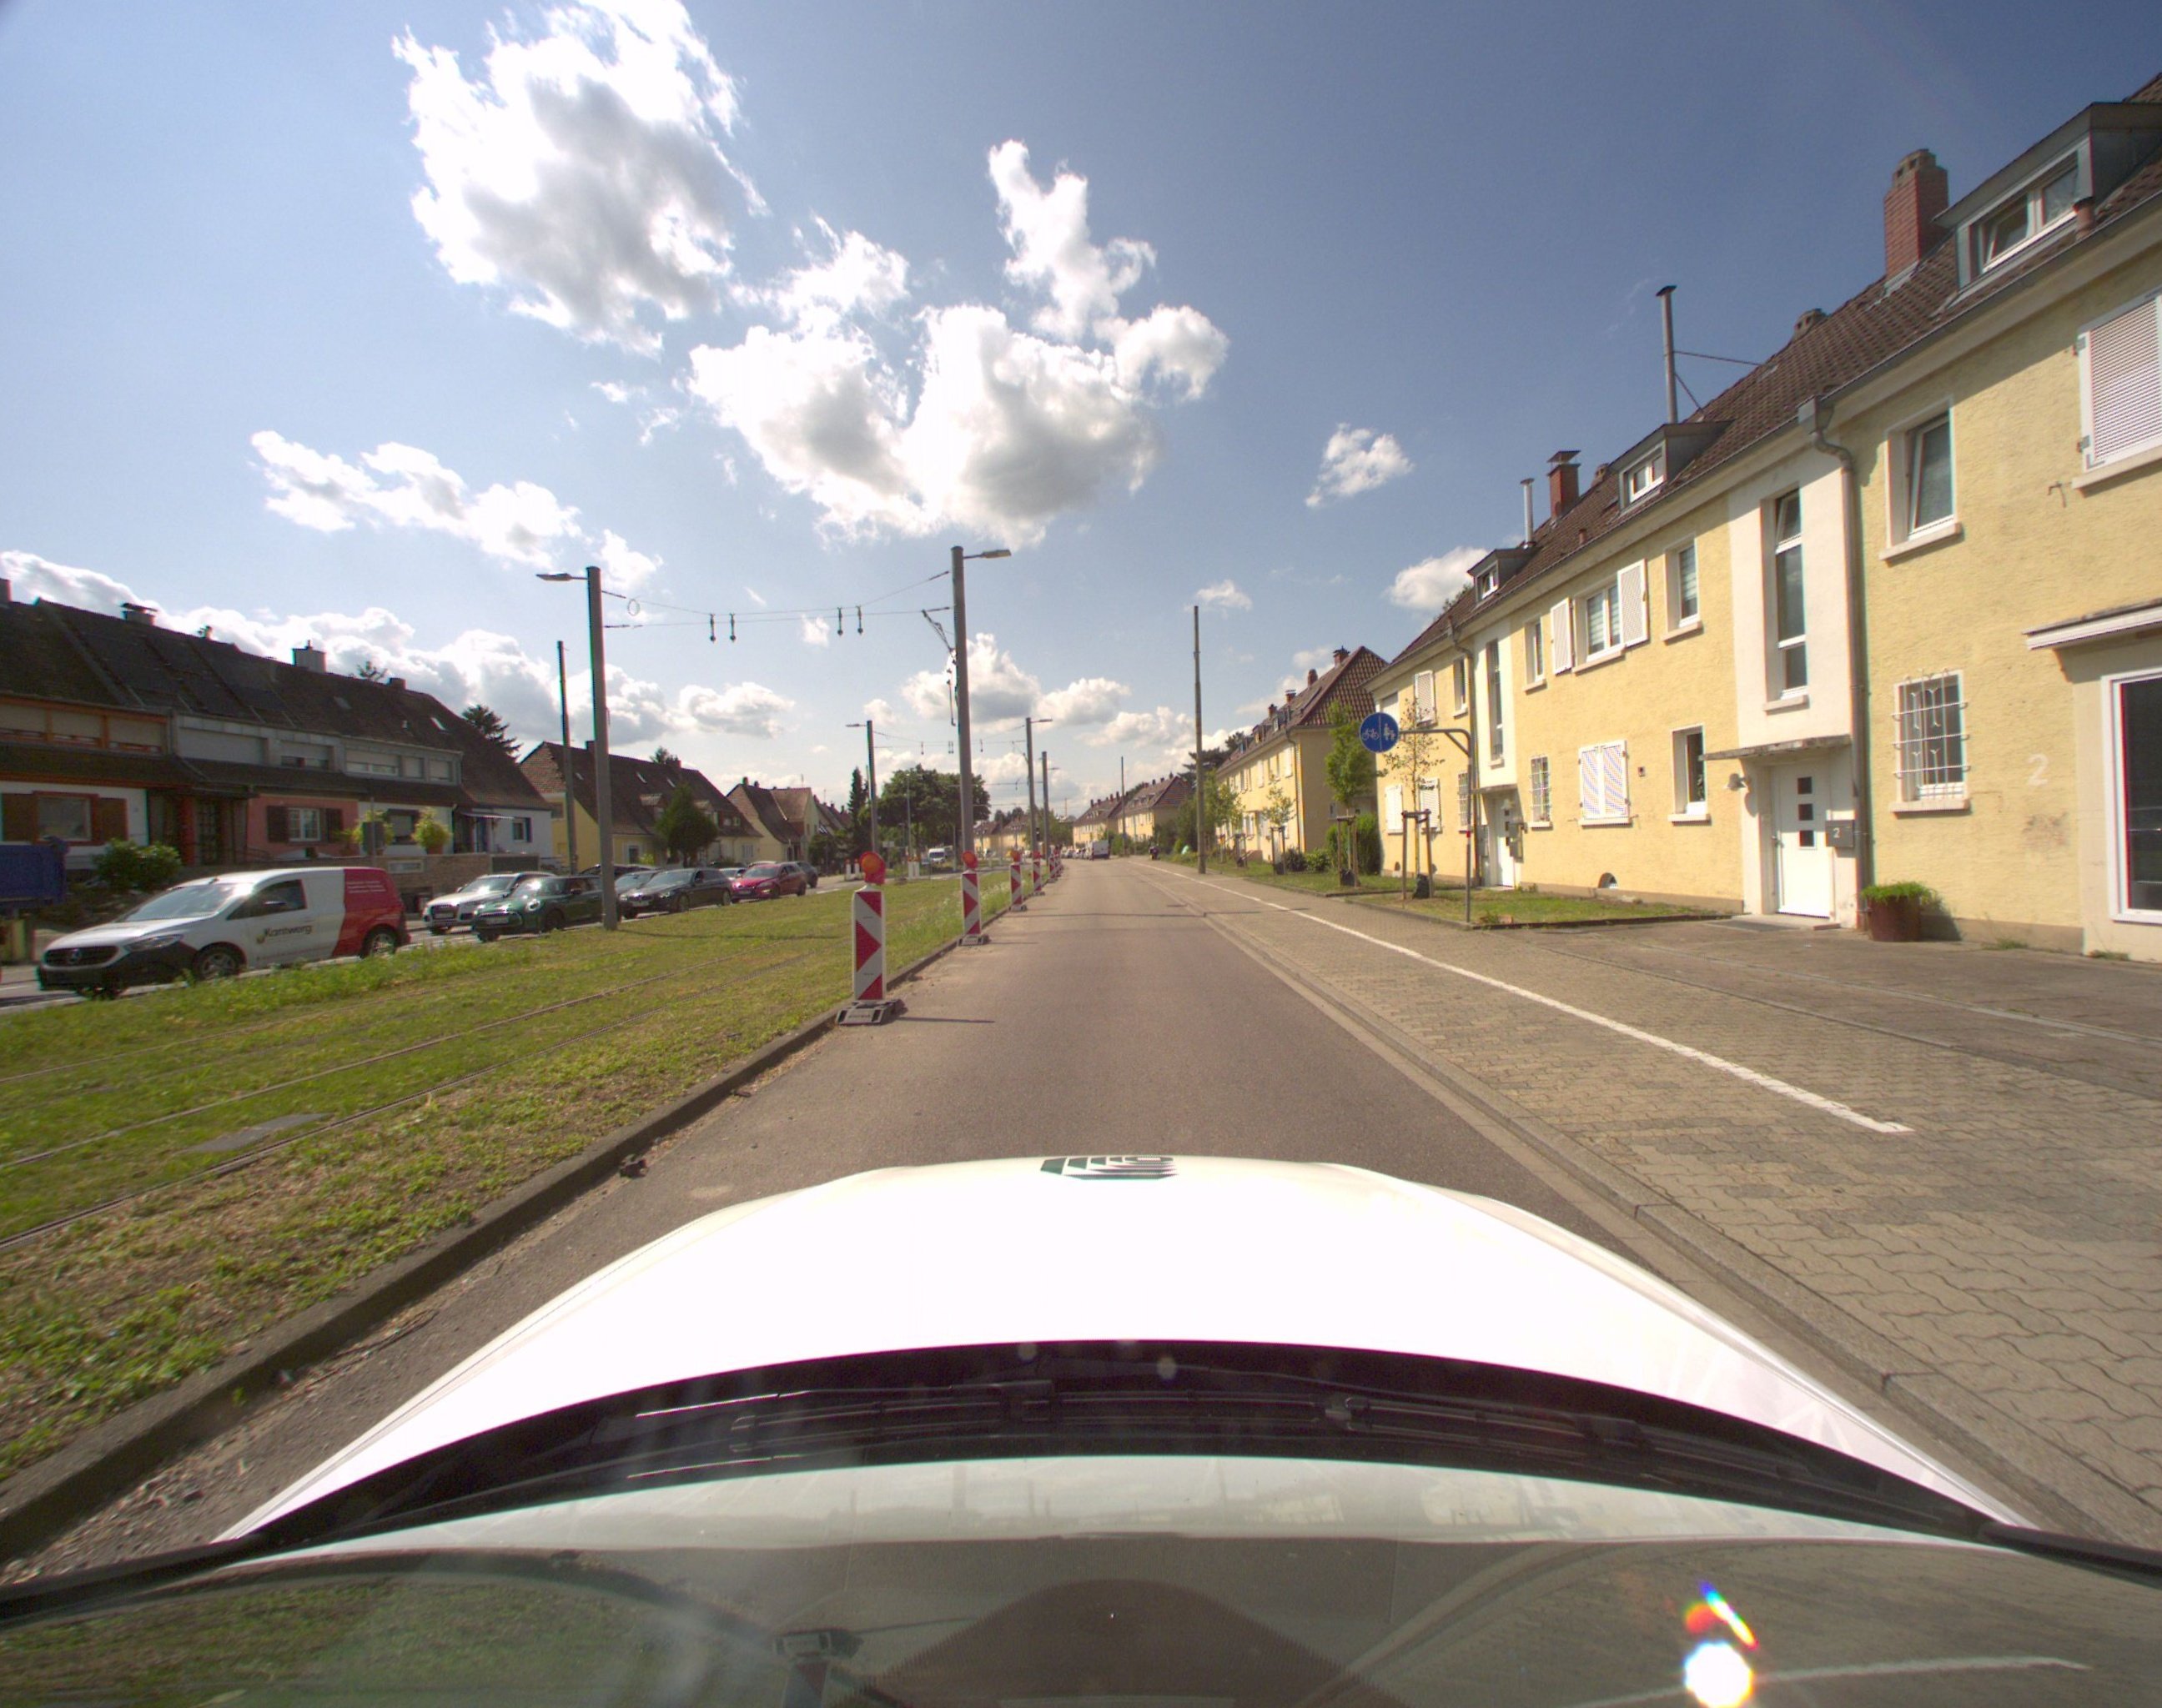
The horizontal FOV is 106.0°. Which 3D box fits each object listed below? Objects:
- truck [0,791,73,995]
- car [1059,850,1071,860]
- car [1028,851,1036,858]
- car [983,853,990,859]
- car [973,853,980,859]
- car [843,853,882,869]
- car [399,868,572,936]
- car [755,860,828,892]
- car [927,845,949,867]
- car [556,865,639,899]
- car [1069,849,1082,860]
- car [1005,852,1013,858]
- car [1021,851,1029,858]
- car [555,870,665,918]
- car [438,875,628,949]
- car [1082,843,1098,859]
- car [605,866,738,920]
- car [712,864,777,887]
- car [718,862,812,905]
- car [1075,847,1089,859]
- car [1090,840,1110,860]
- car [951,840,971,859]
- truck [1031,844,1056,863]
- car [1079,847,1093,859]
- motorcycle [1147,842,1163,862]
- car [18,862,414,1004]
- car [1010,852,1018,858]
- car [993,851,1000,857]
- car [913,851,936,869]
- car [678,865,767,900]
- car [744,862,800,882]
[{"bbox_3d":[-18.282,0.684,9.778,2.760,3.188,7.581,-3,0,0],"label":"truck"},{"bbox_3d":[-2.663,0.105,134.257,1.565,1.551,3.471,-3,0,-6],"label":"car"},{"bbox_3d":[-10.250,0.040,170.092,1.260,1.426,2.651,-3,0,-16],"label":"car"},{"bbox_3d":[-24.977,0.564,214.779,1.170,1.426,2.647,-3,0,-20],"label":"car"},{"bbox_3d":[-28.834,0.571,225.248,1.262,1.426,2.647,-3,0,-21],"label":"car"},{"bbox_3d":[-26.191,0.835,97.629,4.098,1.776,2.099,-3,0,-3],"label":"car"},{"bbox_3d":[-17.785,1.363,24.641,1.837,1.668,4.505,-3,0,0],"label":"car"},{"bbox_3d":[-16.129,1.207,45.656,1.834,1.534,4.747,-3,0,6],"label":"car"},{"bbox_3d":[-16.901,0.219,96.309,2.407,2.338,4.863,-3,0,-9],"label":"car"},{"bbox_3d":[-25.754,1.486,43.459,3.375,1.594,1.604,2,0,-2],"label":"car"},{"bbox_3d":[-0.875,0.054,127.777,1.565,1.551,3.471,-3,0,-6],"label":"car"},{"bbox_3d":[-17.346,0.221,195.217,1.261,1.426,2.648,-3,0,-19],"label":"car"},{"bbox_3d":[-12.275,0.148,178.972,1.260,1.426,2.651,-3,0,-16],"label":"car"},{"bbox_3d":[-17.456,1.456,30.404,1.837,1.493,3.656,-3,0,1],"label":"car"},{"bbox_3d":[-13.276,1.343,20.089,1.909,1.418,3.999,-3,0,0],"label":"car"},{"bbox_3d":[1.207,-0.367,105.329,1.565,1.897,3.781,-3,0,-6],"label":"car"},{"bbox_3d":[-13.262,1.191,26.772,1.837,1.413,4.916,-3,0,0],"label":"car"},{"bbox_3d":[-25.928,1.640,62.856,4.094,1.466,1.991,-3,0,0],"label":"car"},{"bbox_3d":[-12.953,1.160,33.780,1.837,1.493,4.857,-3,0,1],"label":"car"},{"bbox_3d":[0.118,-0.187,116.146,1.565,1.551,3.781,-3,0,-6],"label":"car"},{"bbox_3d":[2.196,-0.467,95.668,2.060,2.149,4.875,-3,0,-2],"label":"car"},{"bbox_3d":[-16.017,-0.653,108.484,2.407,2.370,4.864,-3,1,-9],"label":"car"},{"bbox_3d":[-7.324,-0.011,157.867,2.646,3.494,9.387,-3,0,-16],"label":"truck"},{"bbox_3d":[0.668,-0.174,110.483,1.565,1.551,3.781,-3,0,-6],"label":"car"},{"bbox_3d":[6.291,-0.200,69.582,1.063,1.635,2.083,-3,0,0],"label":"motorcycle"},{"bbox_3d":[-13.706,1.107,13.414,1.727,1.782,4.404,-3,0,0],"label":"car"},{"bbox_3d":[-15.760,0.248,191.071,1.261,1.426,2.650,-3,0,-17],"label":"car"},{"bbox_3d":[-21.399,-0.048,206.403,1.261,1.350,2.648,-3,0,-19],"label":"car"},{"bbox_3d":[-16.269,0.597,84.806,2.094,1.776,4.107,-3,0,-9],"label":"car"},{"bbox_3d":[-16.790,1.298,38.418,1.836,1.343,4.781,-3,0,3],"label":"car"},{"bbox_3d":[-25.820,1.498,68.167,3.974,1.398,1.704,-2,1,0],"label":"car"}]
